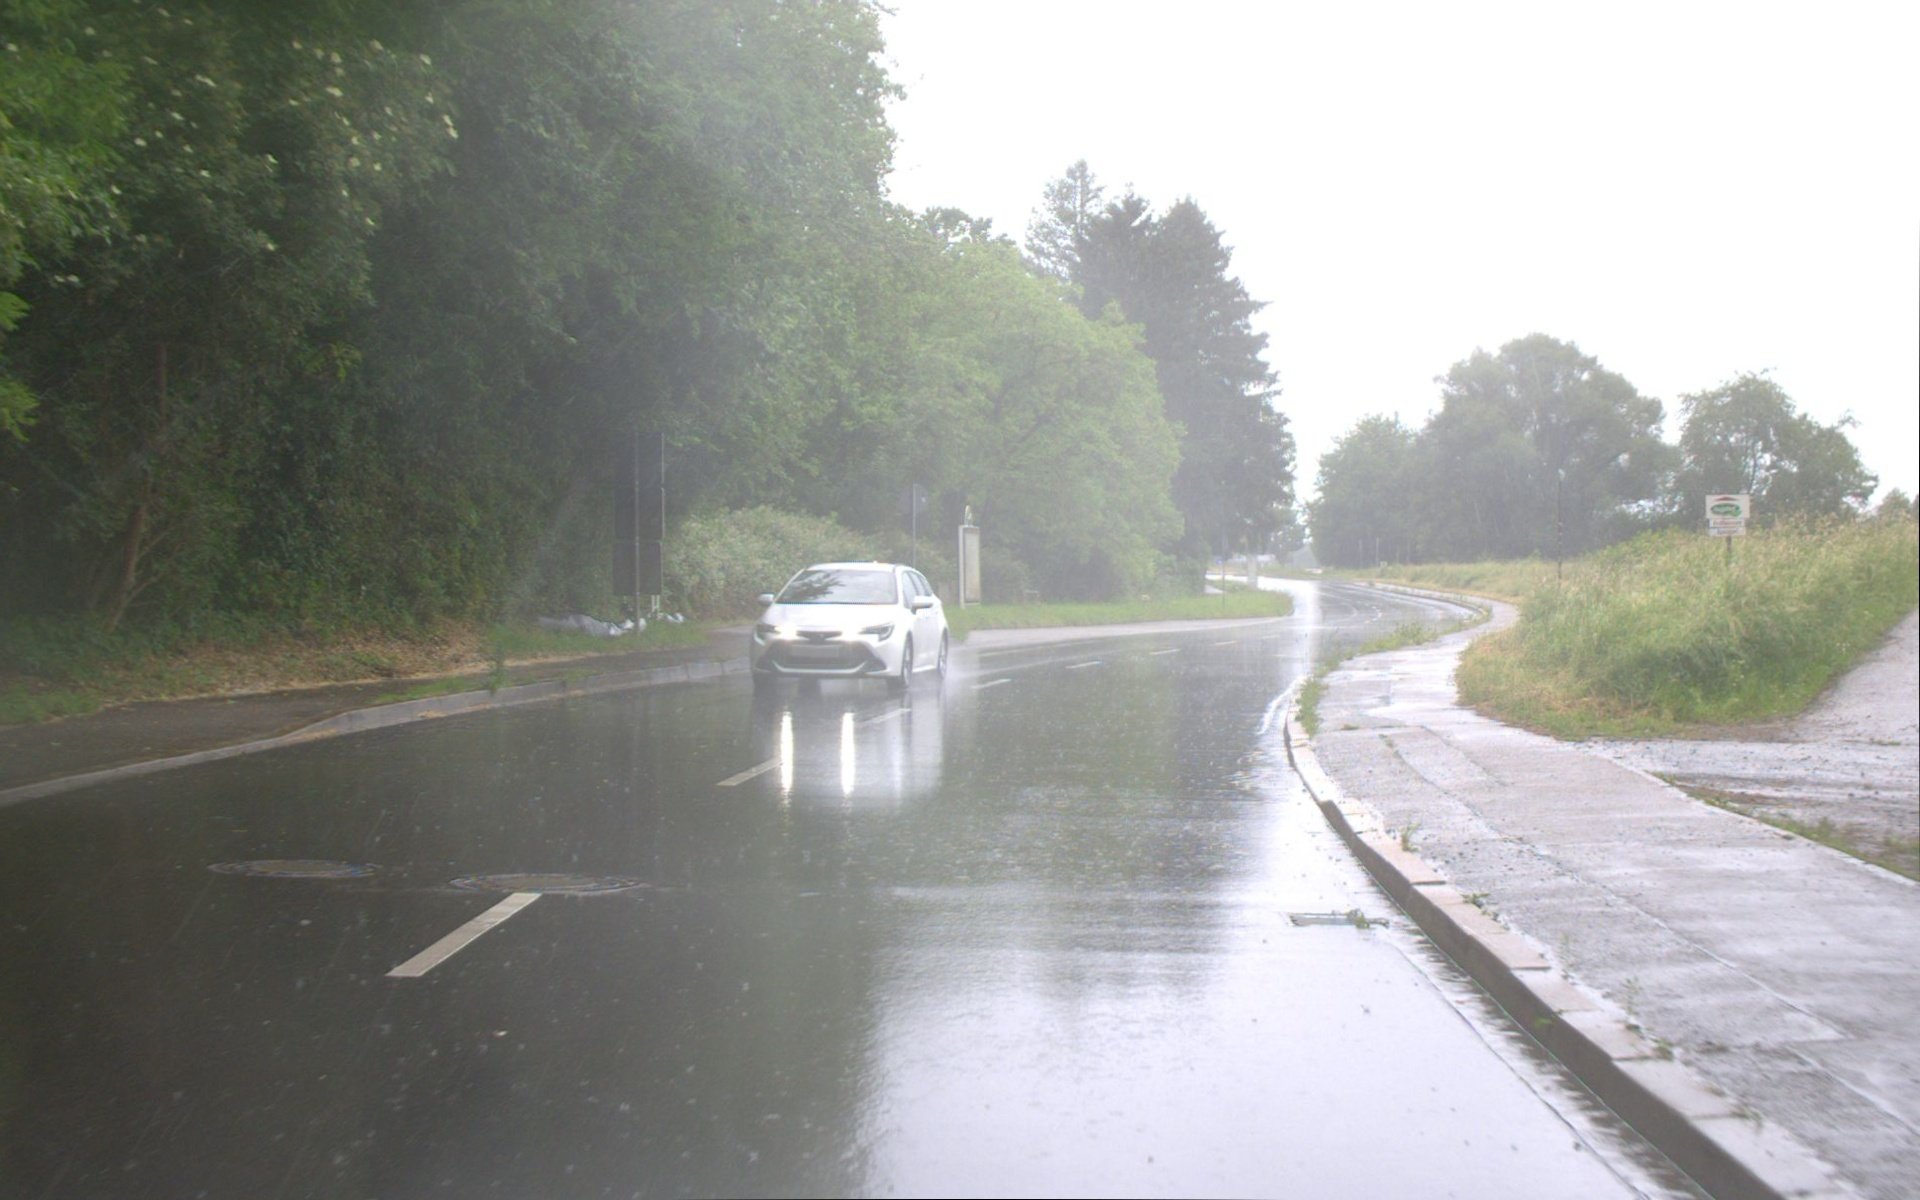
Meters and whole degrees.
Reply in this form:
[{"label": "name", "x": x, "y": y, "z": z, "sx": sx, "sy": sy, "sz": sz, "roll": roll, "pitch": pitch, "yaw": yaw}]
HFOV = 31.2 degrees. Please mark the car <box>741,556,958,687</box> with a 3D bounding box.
[{"label": "car", "x": -1.222, "y": 0.209, "z": 40.235, "sx": 1.787, "sy": 1.414, "sz": 4.632, "roll": 1, "pitch": 1, "yaw": 8}]
